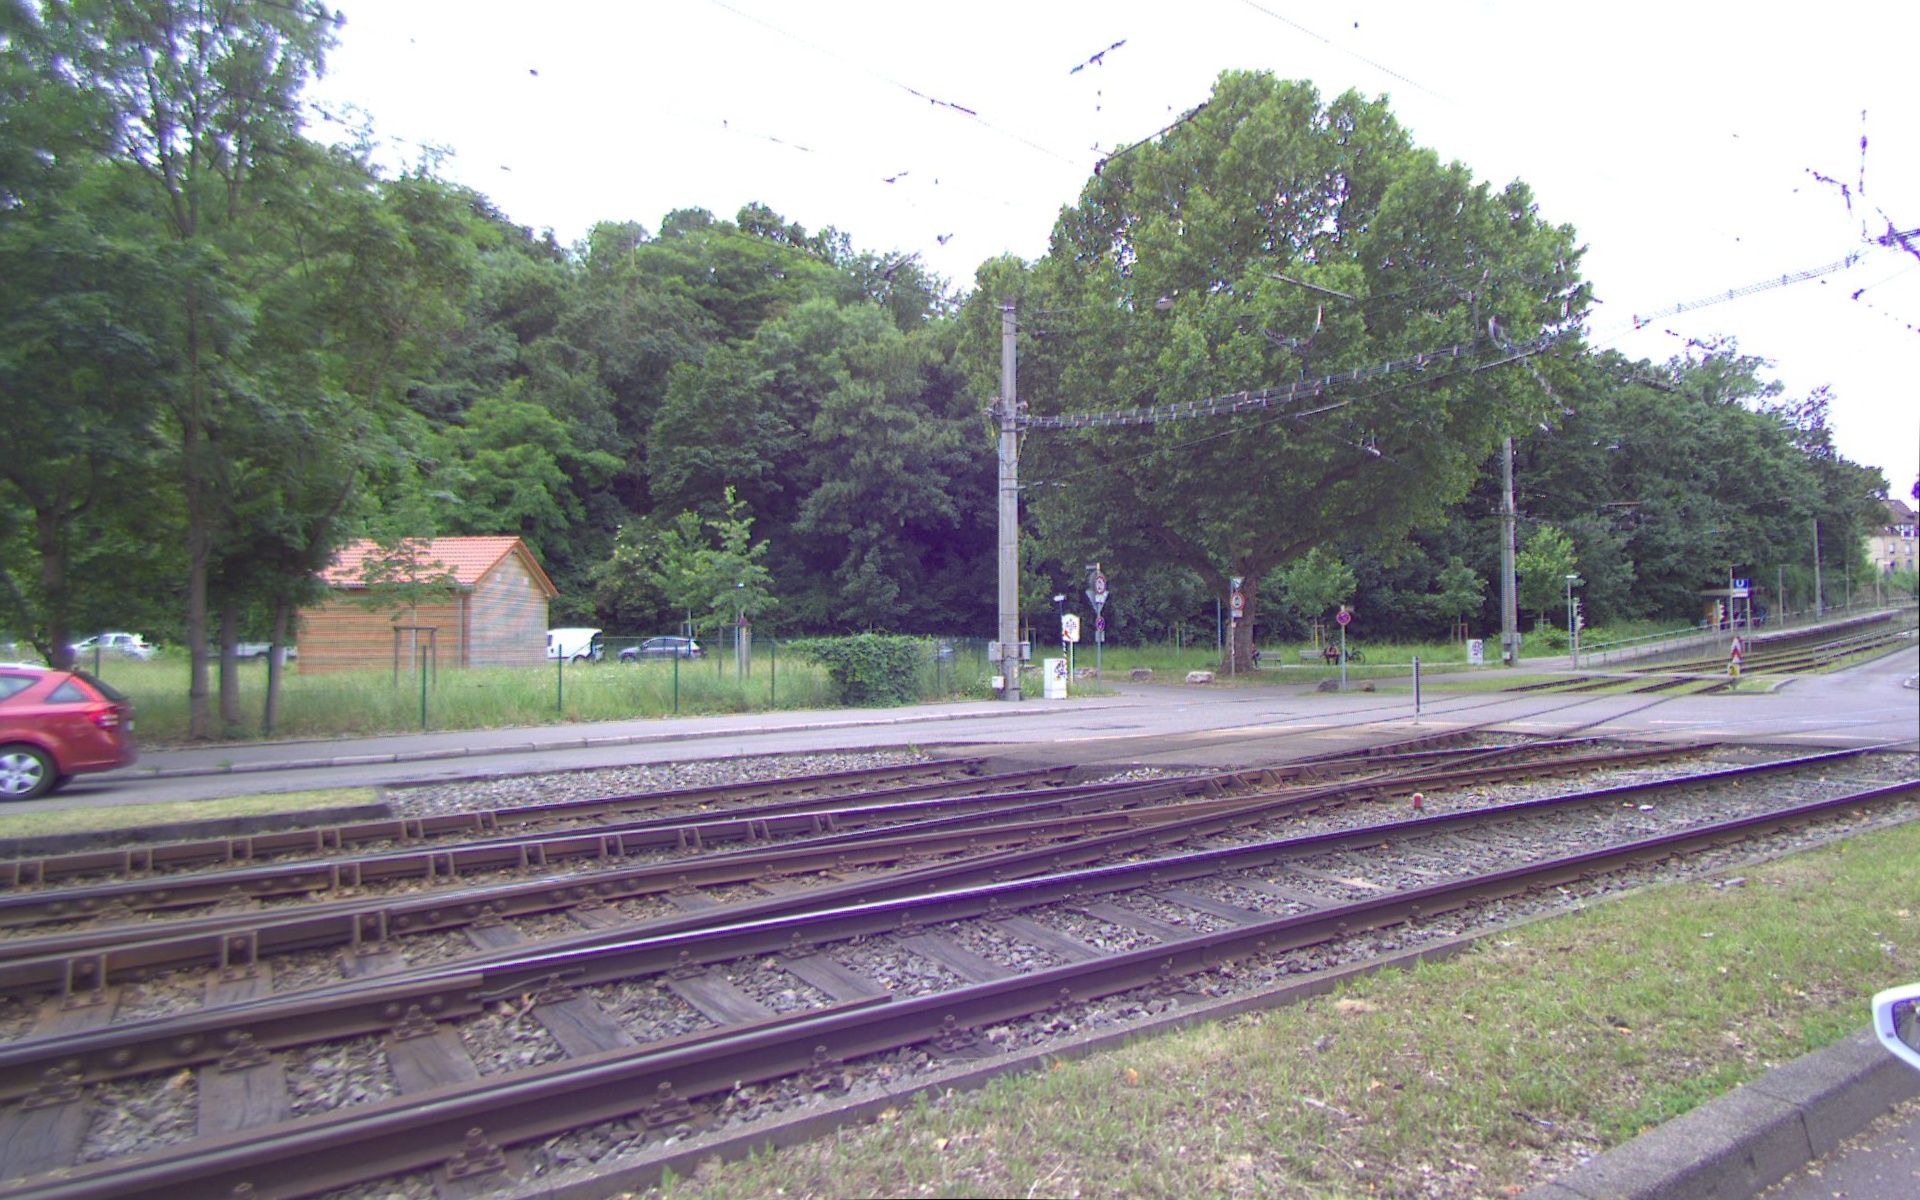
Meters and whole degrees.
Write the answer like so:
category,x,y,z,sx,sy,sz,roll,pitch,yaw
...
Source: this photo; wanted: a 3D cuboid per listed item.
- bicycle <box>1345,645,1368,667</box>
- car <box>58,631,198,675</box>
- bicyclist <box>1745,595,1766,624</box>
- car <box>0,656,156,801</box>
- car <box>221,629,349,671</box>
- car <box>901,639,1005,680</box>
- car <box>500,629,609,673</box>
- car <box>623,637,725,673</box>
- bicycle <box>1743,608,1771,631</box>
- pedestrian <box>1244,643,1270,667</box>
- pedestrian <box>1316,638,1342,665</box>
category,x,y,z,sx,sy,sz,roll,pitch,yaw
bicycle,19.901,2.788,50.447,0.662,1.025,1.654,2,-1,8
car,-33.355,2.109,40.366,3.921,1.683,2.000,0,-2,0
bicyclist,53.965,0.641,68.142,1.042,1.873,0.815,-2,-1,-38
car,-11.776,1.439,10.975,4.454,1.534,1.982,1,-5,-34
car,-27.987,2.056,41.752,3.921,1.683,2.000,0,-2,0
car,-0.379,2.874,49.194,4.985,1.913,2.355,0,-2,-2
car,-19.044,2.385,47.338,4.319,2.040,1.999,0,-2,-5
car,-13.462,2.580,47.451,4.320,1.603,1.999,0,-2,-6
bicycle,54.142,1.321,68.240,2.970,1.361,0.817,-2,-1,-39
pedestrian,14.807,2.728,50.062,1.059,1.110,0.906,2,-1,5
pedestrian,18.624,2.604,50.719,1.035,1.284,1.117,2,-1,8
